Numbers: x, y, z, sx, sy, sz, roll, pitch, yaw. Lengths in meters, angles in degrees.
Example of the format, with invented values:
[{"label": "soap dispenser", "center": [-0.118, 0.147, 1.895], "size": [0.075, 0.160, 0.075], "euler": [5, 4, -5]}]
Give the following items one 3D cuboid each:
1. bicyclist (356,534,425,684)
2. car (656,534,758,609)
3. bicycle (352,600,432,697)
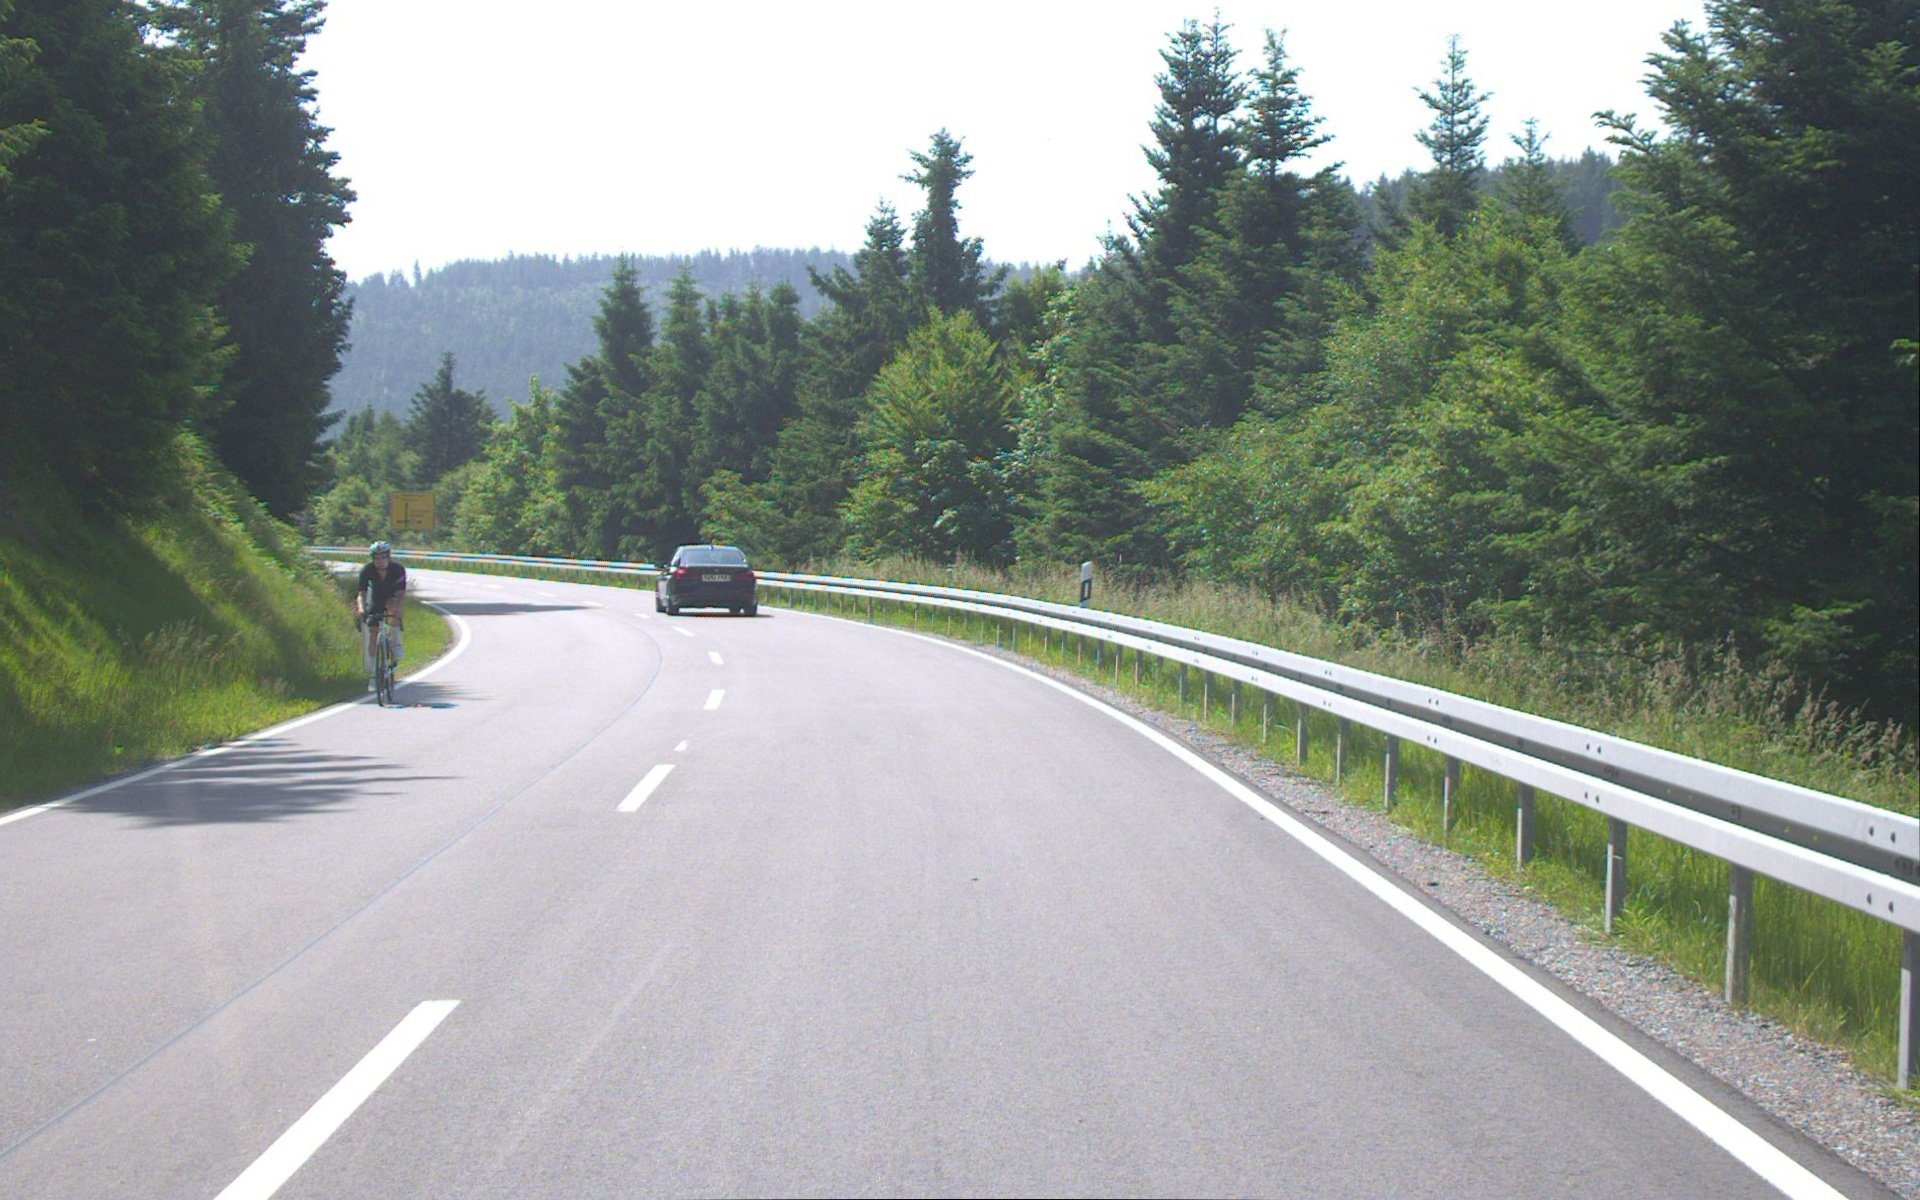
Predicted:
[{"label": "bicyclist", "center": [-5.599, 0.080, 33.836], "size": [0.541, 1.446, 0.984], "euler": [-1, 1, -3]}, {"label": "car", "center": [-5.161, -0.595, 69.803], "size": [1.775, 1.437, 3.710], "euler": [-1, 1, -9]}, {"label": "bicycle", "center": [-5.593, 0.463, 33.952], "size": [0.553, 0.883, 2.062], "euler": [-1, 1, -3]}]
